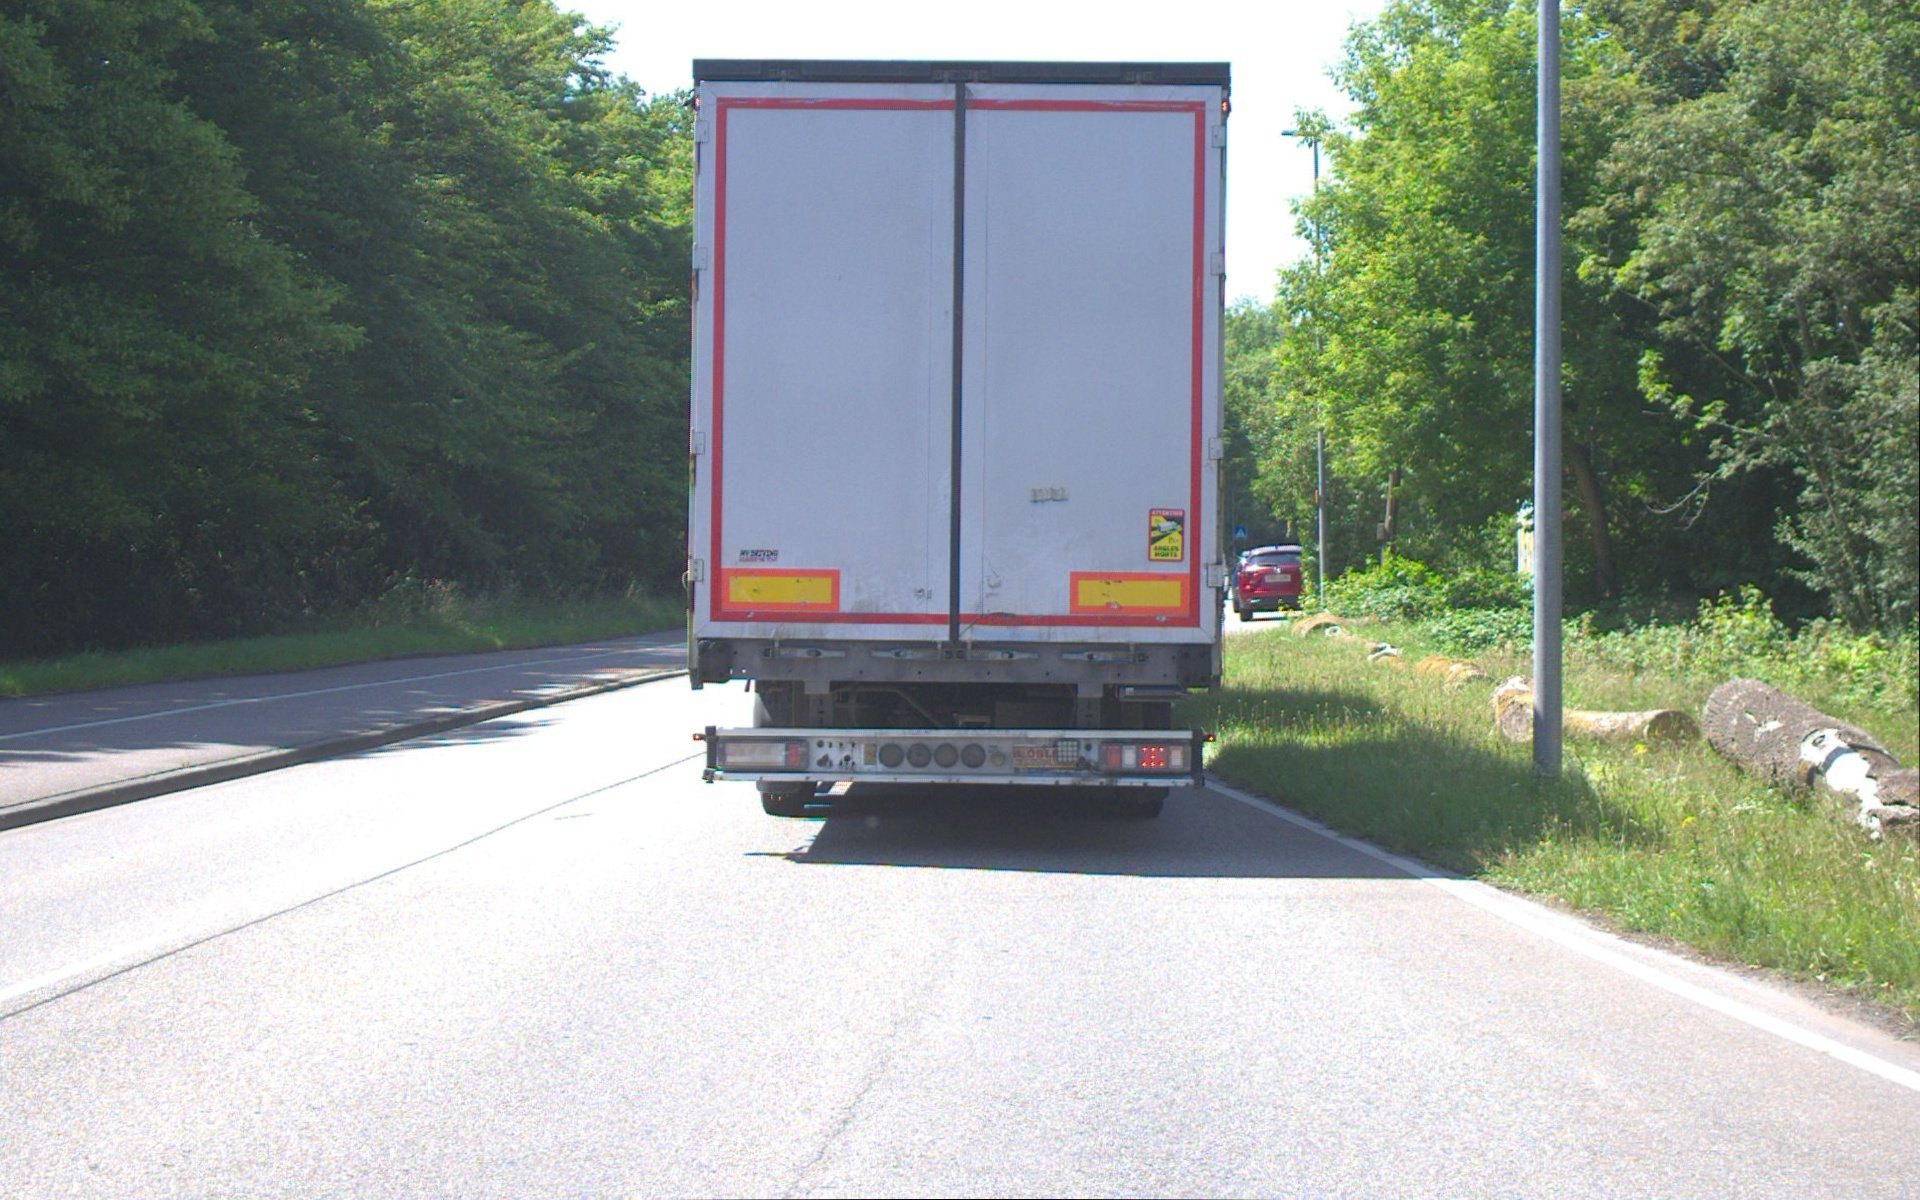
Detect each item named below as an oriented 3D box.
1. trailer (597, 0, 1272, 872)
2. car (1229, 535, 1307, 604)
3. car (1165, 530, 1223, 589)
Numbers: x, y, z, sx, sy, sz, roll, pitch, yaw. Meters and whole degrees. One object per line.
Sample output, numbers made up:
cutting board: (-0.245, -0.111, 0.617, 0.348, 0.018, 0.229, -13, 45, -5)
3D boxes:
trailer: (-0.269, -0.872, 20.877, 3.077, 4.056, 9.810, 1, 1, -2)
car: (7.047, -0.715, 78.912, 1.711, 1.525, 3.850, 0, 1, 4)
car: (8.253, -1.443, 121.429, 1.994, 2.007, 4.000, -1, 1, 4)
